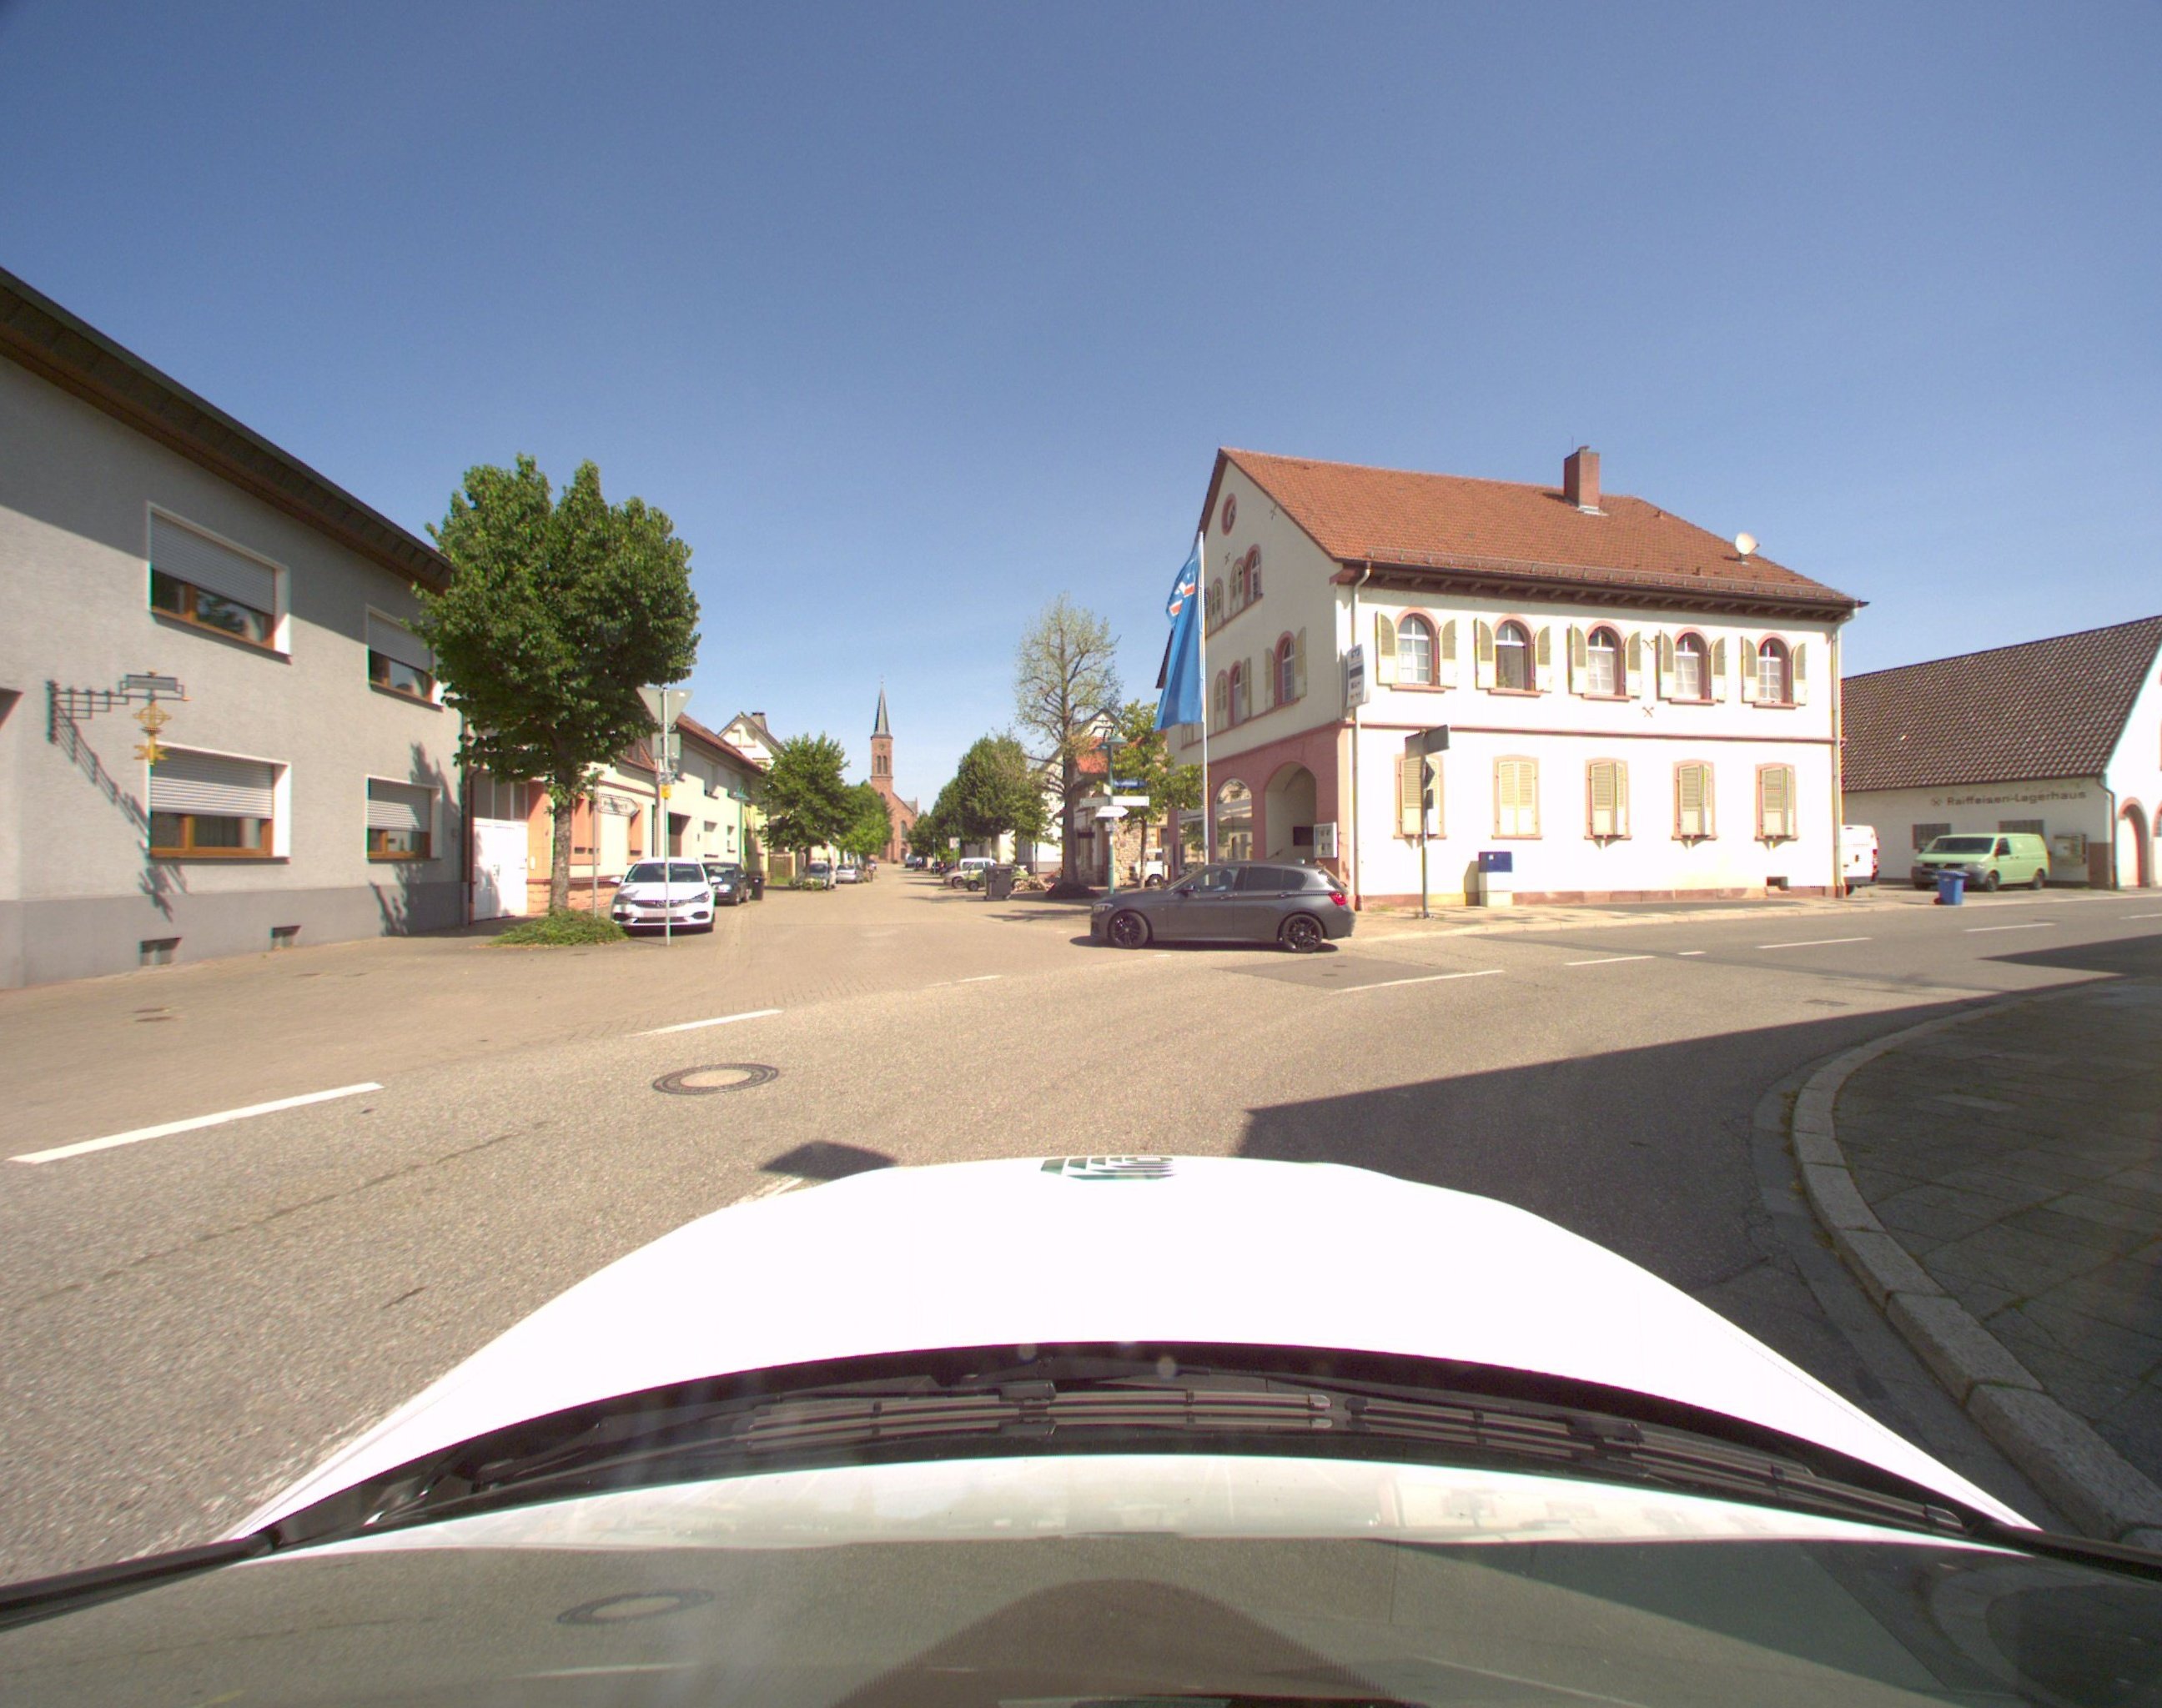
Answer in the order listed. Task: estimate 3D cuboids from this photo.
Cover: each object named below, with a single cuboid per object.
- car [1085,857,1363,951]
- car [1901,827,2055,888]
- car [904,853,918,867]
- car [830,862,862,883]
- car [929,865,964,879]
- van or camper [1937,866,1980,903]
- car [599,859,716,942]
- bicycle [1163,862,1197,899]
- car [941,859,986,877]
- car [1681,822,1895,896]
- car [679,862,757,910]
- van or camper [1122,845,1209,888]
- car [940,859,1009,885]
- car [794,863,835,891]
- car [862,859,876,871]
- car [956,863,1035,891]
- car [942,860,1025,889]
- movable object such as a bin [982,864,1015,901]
[{"bbox_3d":[2.315,0.756,13.463,4.228,1.376,1.747,0,0,10],"label":"car"},{"bbox_3d":[31.006,0.101,28.153,4.670,1.964,1.986,-1,0,-21],"label":"car"},{"bbox_3d":[-30.264,1.090,145.043,2.247,2.279,4.483,1,-2,-12],"label":"car"},{"bbox_3d":[-17.207,1.338,59.538,2.000,1.464,3.974,0,0,-19],"label":"car"},{"bbox_3d":[-16.093,2.131,97.482,3.993,1.618,1.990,-1,0,-15],"label":"car"},{"bbox_3d":[23.714,0.819,22.015,0.599,0.951,0.588,-1,0,-16],"label":"van or camper"},{"bbox_3d":[-8.588,0.849,16.858,1.858,1.440,4.477,-1,0,-24],"label":"car"},{"bbox_3d":[3.219,0.839,26.629,0.593,1.136,1.742,-1,0,-10],"label":"bicycle"},{"bbox_3d":[-10.786,1.268,74.655,3.992,1.640,1.991,-1,0,-13],"label":"car"},{"bbox_3d":[23.172,0.134,27.042,2.116,2.196,5.174,-1,0,-11],"label":"car"},{"bbox_3d":[-12.483,1.025,28.287,1.990,1.440,5.177,-1,0,-19],"label":"car"},{"bbox_3d":[4.156,0.625,40.380,3.979,2.013,1.997,-1,0,-4],"label":"van or camper"},{"bbox_3d":[-6.828,1.139,52.021,4.155,1.568,1.991,-1,0,-13],"label":"car"},{"bbox_3d":[-15.767,1.338,48.414,1.996,1.574,3.981,-1,0,-14],"label":"car"},{"bbox_3d":[-33.289,1.654,128.072,1.998,1.816,3.978,-1,0,-16],"label":"car"},{"bbox_3d":[-4.569,1.189,43.212,3.928,1.344,1.991,-1,0,-13],"label":"car"},{"bbox_3d":[-5.926,1.215,49.464,4.809,1.623,1.991,-1,0,-13],"label":"car"},{"bbox_3d":[-3.071,1.053,30.316,1.188,1.338,0.786,-1,0,-9],"label":"movable object such as a bin"}]
